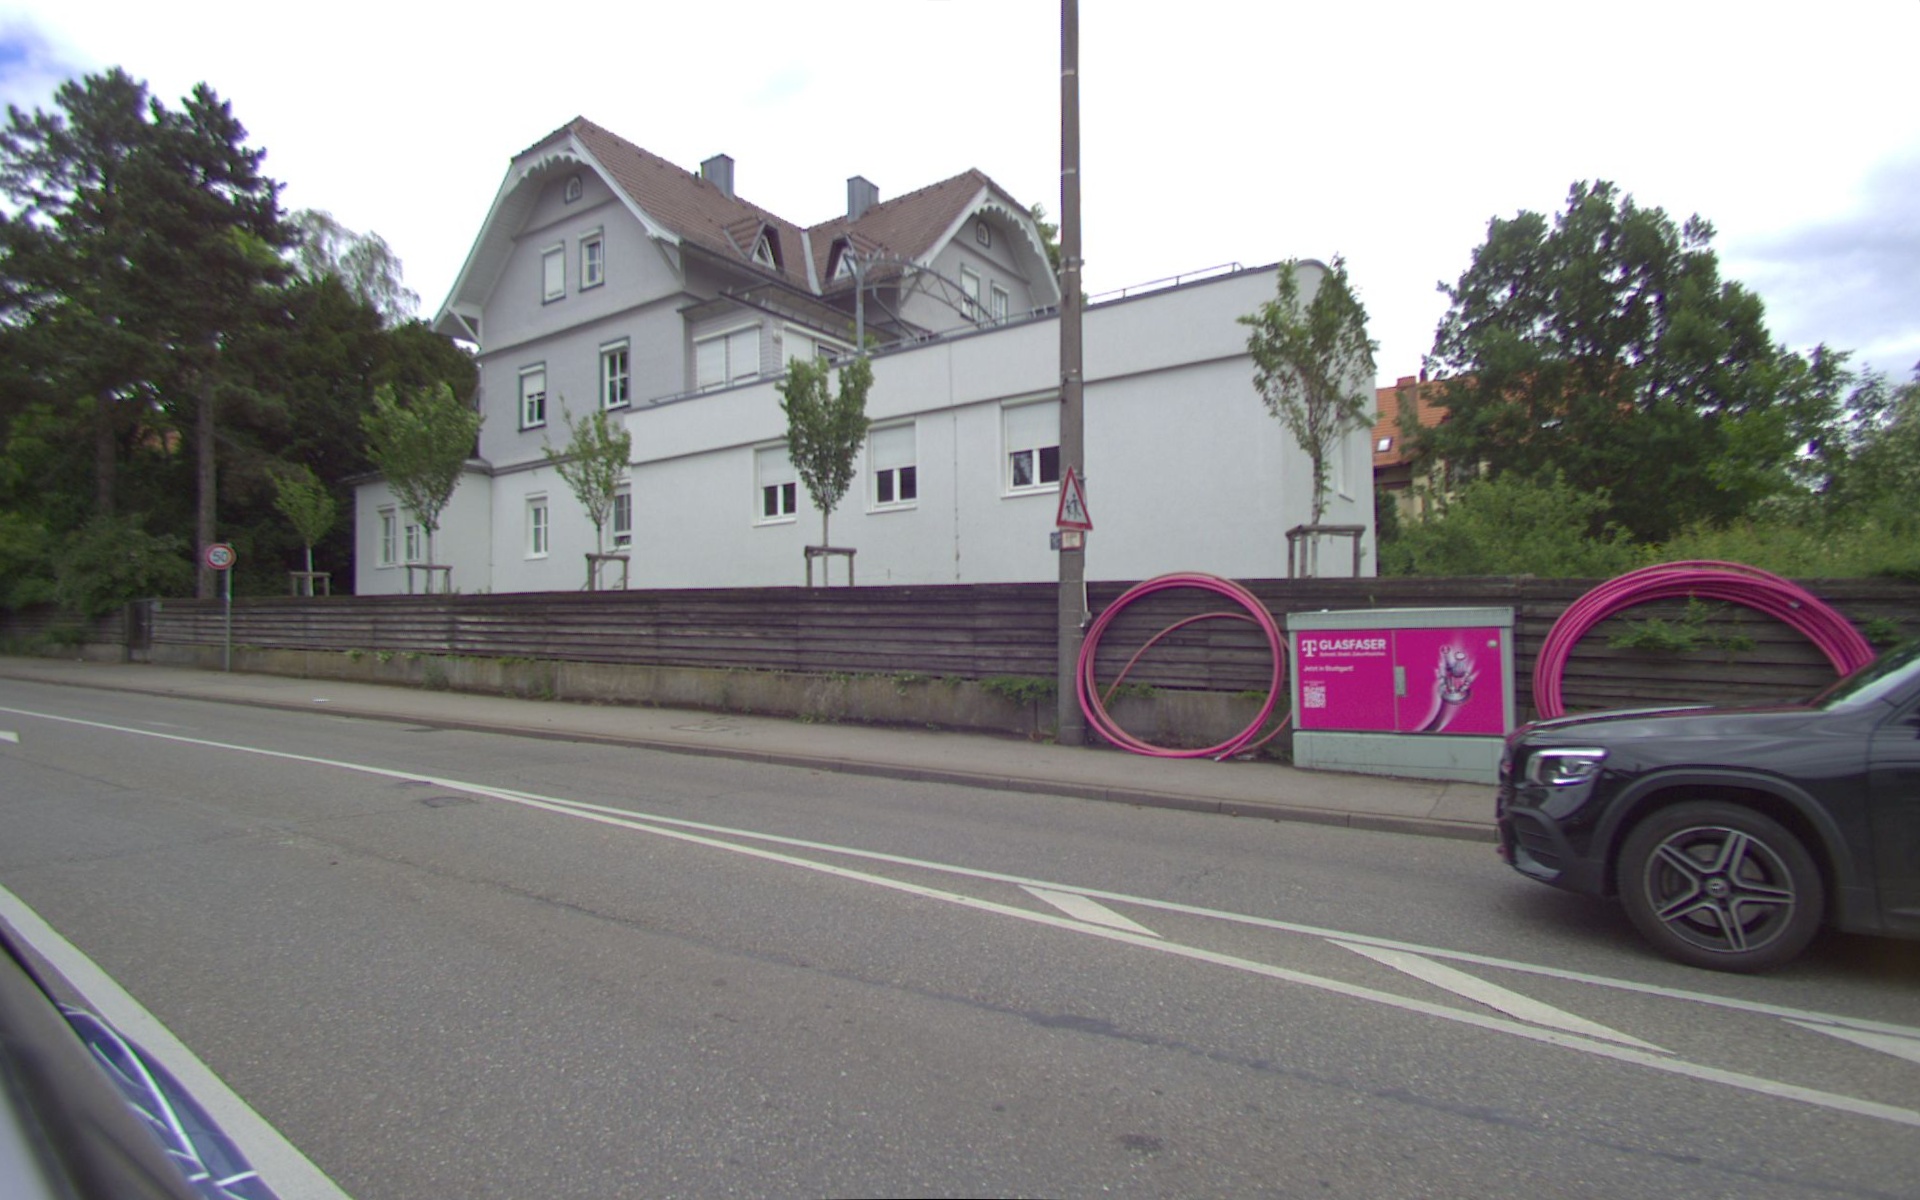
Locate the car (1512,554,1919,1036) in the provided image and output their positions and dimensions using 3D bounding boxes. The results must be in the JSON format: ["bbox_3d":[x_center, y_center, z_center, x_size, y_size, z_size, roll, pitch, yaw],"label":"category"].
[{"bbox_3d":[4.925,0.784,4.146,4.509,1.811,1.977,-1,-4,35],"label":"car"}]
